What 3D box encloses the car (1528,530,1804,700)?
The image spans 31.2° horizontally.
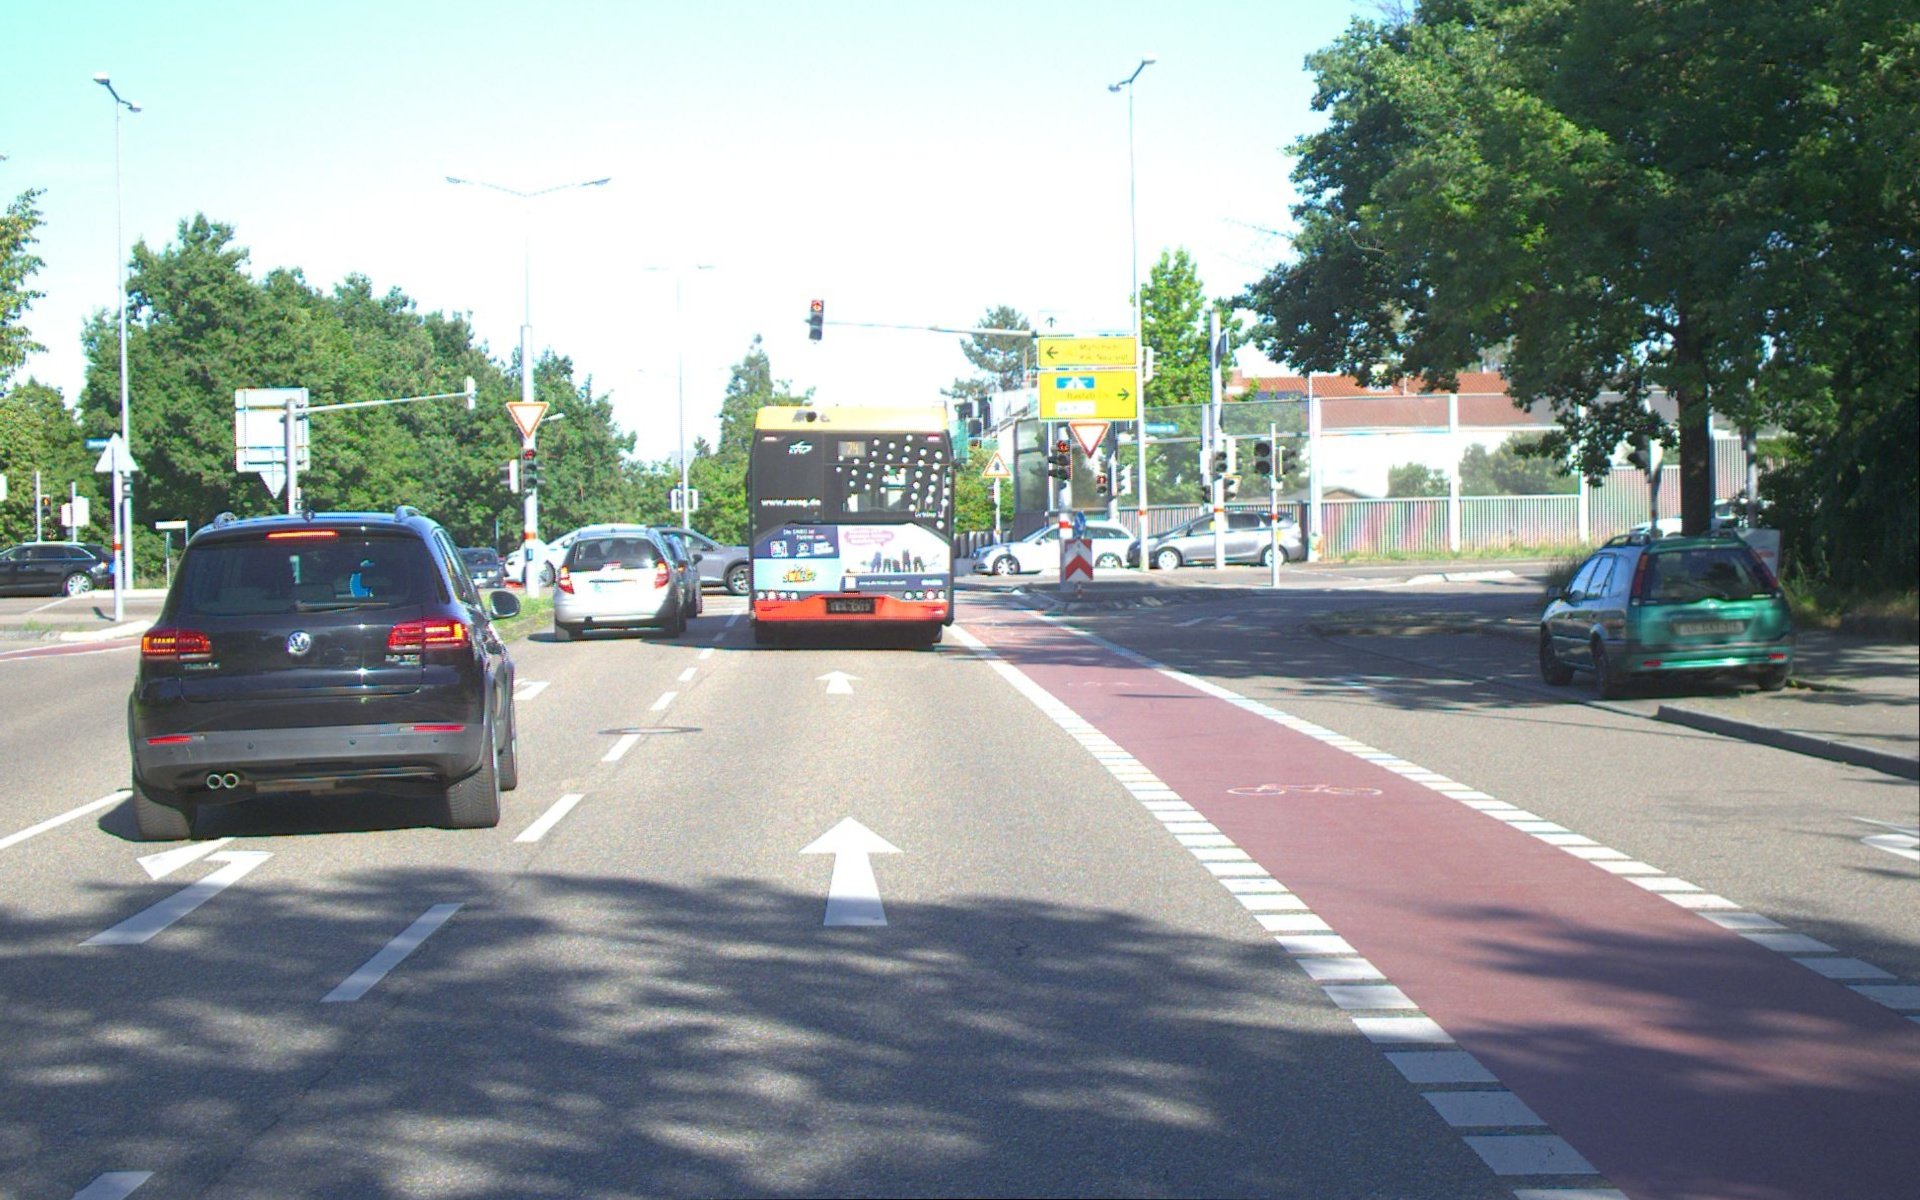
[{"bbox_3d":[6.496,0.095,32.029,1.592,1.424,4.204,-2,1,-1],"label":"car"}]

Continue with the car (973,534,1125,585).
[{"bbox_3d":[2.358,-1.080,91.793,3.845,1.335,1.683,0,0,-7],"label":"car"}]

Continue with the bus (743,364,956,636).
[{"bbox_3d":[-1.552,-1.374,48.129,2.596,3.323,11.985,0,1,-2],"label":"bus"}]

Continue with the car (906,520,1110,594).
[{"bbox_3d":[0.885,-0.780,62.226,3.523,1.297,1.574,0,1,7],"label":"car"}]

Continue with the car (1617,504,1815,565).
[{"bbox_3d":[19.890,-1.722,90.587,4.701,1.535,2.000,-1,1,-5],"label":"car"}]

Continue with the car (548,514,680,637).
[{"bbox_3d":[-5.080,-0.397,50.151,1.753,1.614,4.035,-1,3,-8],"label":"car"}]

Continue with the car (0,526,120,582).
[{"bbox_3d":[-22.757,-1.130,84.690,3.891,1.335,1.683,0,0,-10],"label":"car"}]

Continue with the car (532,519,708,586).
[{"bbox_3d":[-8.593,-1.191,86.896,4.383,1.677,1.712,0,0,-6],"label":"car"}]

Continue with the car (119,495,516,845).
[{"bbox_3d":[-3.398,0.324,18.822,1.820,1.668,4.004,-1,1,-6],"label":"car"}]

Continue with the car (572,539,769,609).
[{"bbox_3d":[-6.303,-0.565,74.699,4.220,1.475,1.764,0,0,-6],"label":"car"}]

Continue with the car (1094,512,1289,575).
[{"bbox_3d":[5.970,-1.473,88.977,4.701,1.535,2.001,-1,1,-7],"label":"car"}]
